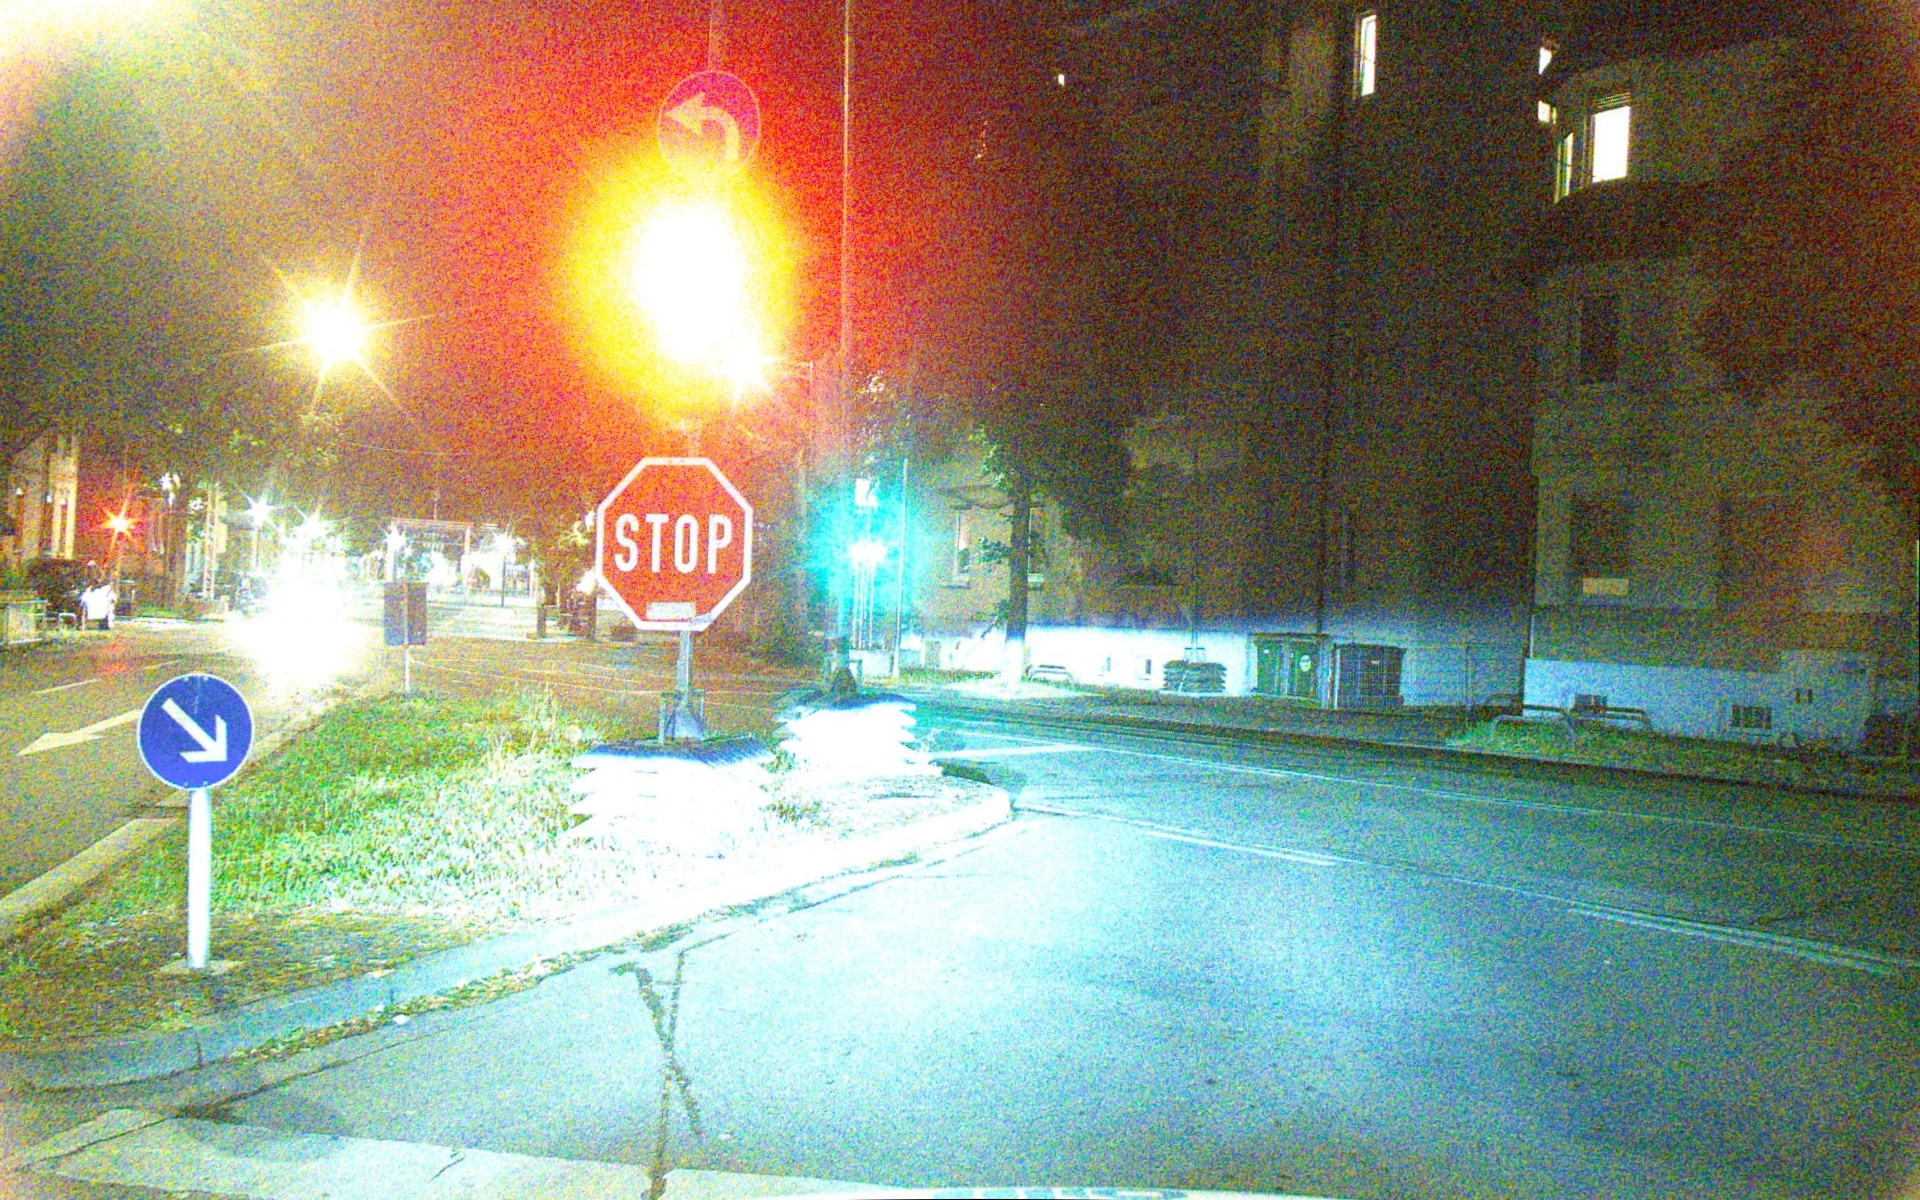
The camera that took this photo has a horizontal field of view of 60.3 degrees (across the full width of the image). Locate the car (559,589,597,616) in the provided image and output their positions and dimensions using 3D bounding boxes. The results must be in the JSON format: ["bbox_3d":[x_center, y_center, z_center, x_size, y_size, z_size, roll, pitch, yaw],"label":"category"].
[{"bbox_3d":[-24.052,0.139,104.070,1.708,1.485,4.701,4,-1,-19],"label":"car"}]

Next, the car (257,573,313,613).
[{"bbox_3d":[-29.289,-0.323,71.895,1.757,1.517,3.981,6,-1,-17],"label":"car"}]

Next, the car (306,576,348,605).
[{"bbox_3d":[-35.192,-0.564,92.032,1.756,1.440,4.107,5,-1,-17],"label":"car"}]

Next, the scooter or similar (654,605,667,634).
[{"bbox_3d":[-12.444,0.791,68.647,0.414,1.150,1.491,2,0,-8],"label":"scooter or similar"}]

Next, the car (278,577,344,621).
[{"bbox_3d":[-22.936,-0.053,58.559,1.687,1.454,3.984,1,0,-15],"label":"car"}]

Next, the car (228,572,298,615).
[{"bbox_3d":[-27.868,-0.254,66.237,1.754,1.517,4.314,6,-1,-14],"label":"car"}]

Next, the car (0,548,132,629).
[{"bbox_3d":[-20.469,-0.256,37.726,1.854,1.624,4.009,5,-1,-14],"label":"car"}]

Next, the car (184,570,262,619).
[{"bbox_3d":[-25.755,-0.181,57.940,1.564,1.517,3.689,6,-1,-11],"label":"car"}]
